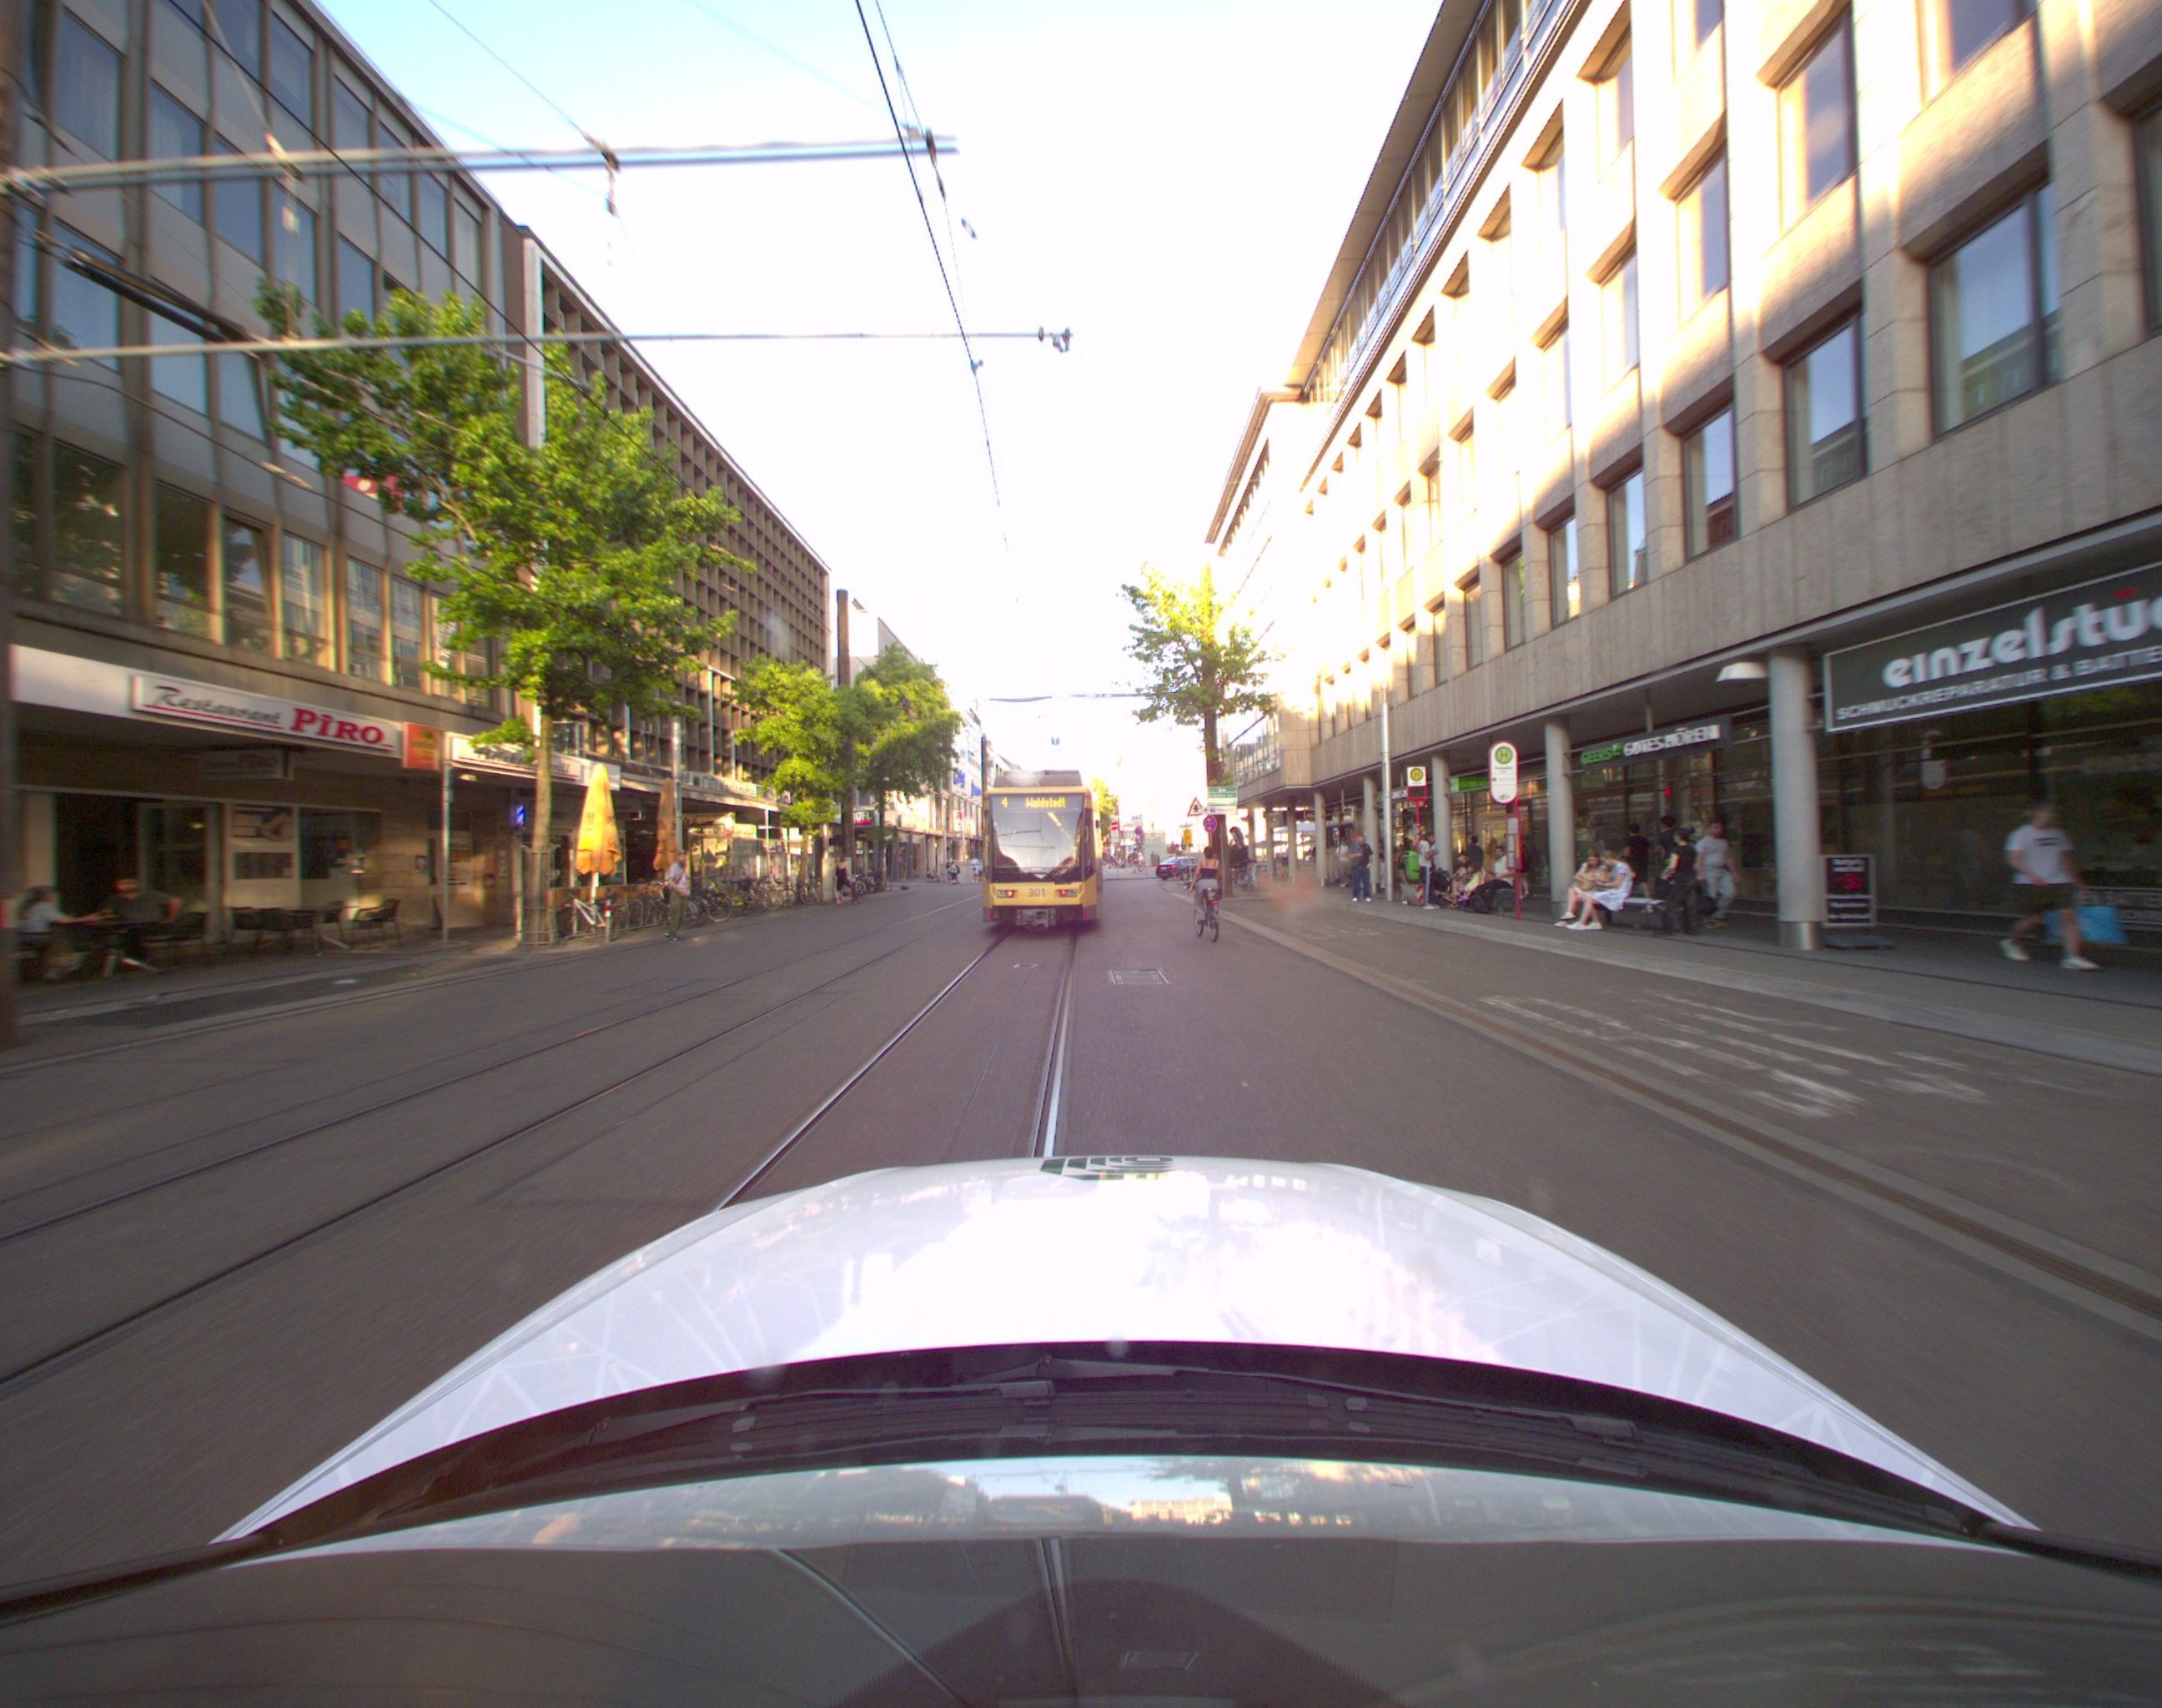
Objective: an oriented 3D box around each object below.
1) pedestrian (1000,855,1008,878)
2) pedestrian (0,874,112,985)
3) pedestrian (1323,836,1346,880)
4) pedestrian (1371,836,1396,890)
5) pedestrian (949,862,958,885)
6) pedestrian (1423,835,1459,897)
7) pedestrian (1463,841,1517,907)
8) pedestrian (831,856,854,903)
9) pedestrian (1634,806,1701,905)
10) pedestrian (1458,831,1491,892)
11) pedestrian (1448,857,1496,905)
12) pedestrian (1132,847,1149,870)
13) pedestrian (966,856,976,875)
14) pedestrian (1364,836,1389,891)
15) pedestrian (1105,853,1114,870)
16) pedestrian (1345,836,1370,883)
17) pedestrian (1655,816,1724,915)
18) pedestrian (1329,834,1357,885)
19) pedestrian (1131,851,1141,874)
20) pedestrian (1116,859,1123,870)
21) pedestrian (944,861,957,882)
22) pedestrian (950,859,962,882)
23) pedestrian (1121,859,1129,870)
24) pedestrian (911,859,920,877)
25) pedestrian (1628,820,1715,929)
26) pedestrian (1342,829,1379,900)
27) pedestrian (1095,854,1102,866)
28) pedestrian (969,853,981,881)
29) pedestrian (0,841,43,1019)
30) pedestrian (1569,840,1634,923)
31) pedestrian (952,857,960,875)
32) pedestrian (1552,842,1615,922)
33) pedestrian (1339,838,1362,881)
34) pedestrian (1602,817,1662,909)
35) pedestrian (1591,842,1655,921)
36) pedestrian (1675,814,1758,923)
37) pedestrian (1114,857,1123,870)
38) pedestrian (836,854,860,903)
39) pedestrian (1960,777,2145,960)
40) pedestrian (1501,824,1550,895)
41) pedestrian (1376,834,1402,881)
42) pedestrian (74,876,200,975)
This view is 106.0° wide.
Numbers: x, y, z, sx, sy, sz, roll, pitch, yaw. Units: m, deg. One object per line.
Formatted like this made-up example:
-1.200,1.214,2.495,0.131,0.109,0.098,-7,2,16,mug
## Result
-6.703,1.076,70.905,0.712,1.925,0.708,-1,-1,-5,pedestrian
-13.236,0.930,10.357,0.668,1.325,0.912,1,-1,-1,pedestrian
10.627,0.177,34.174,0.660,1.787,0.719,-2,-1,1,pedestrian
10.360,0.322,27.894,0.537,1.806,0.604,-2,-1,-1,pedestrian
-8.542,1.295,54.561,0.603,1.494,0.554,-1,-1,-8,pedestrian
9.931,0.326,22.483,0.646,1.661,0.650,-2,-1,1,pedestrian
8.694,0.423,17.325,0.810,1.381,0.662,-1,-1,2,pedestrian
-8.692,0.931,29.667,0.595,1.699,0.539,-1,0,29,pedestrian
11.569,0.037,16.083,0.685,1.883,0.773,-2,-1,-1,pedestrian
11.401,0.218,23.595,0.568,1.731,0.617,-2,-1,-1,pedestrian
8.724,0.588,18.179,0.810,1.042,0.544,-1,-1,2,pedestrian
4.955,0.349,67.562,1.020,1.863,1.033,0,-1,-30,pedestrian
-9.900,1.065,73.514,0.632,1.725,0.598,0,-2,-43,pedestrian
9.986,0.323,27.537,0.537,1.806,0.604,-2,-1,-1,pedestrian
3.168,0.834,90.602,0.734,1.823,0.816,-1,-1,-14,pedestrian
10.772,0.223,31.709,0.660,1.787,0.719,-2,-1,1,pedestrian
10.617,0.203,14.230,0.645,1.661,0.681,-2,-1,2,pedestrian
9.682,0.208,30.107,0.666,1.839,0.880,-2,-1,0,pedestrian
4.297,0.684,63.459,0.715,1.725,0.709,-2,-1,0,pedestrian
4.463,1.196,94.549,0.790,1.221,0.768,-1,0,-3,pedestrian
-9.321,1.233,58.059,0.548,1.434,0.689,-3,-2,38,pedestrian
-8.528,1.115,55.410,0.682,1.542,0.605,-1,-1,-2,pedestrian
5.055,1.180,93.745,0.790,1.221,0.768,-1,0,-3,pedestrian
-16.305,1.370,80.180,0.711,1.725,0.709,-2,-1,-1,pedestrian
8.898,0.298,12.293,0.721,1.570,0.736,-2,-1,2,pedestrian
7.485,0.281,21.843,0.666,1.839,0.708,-2,-1,0,pedestrian
2.378,0.779,110.512,0.761,1.661,0.797,-1,0,12,pedestrian
-7.410,0.924,57.158,0.772,1.926,0.707,-1,-1,-8,pedestrian
-11.234,0.754,8.013,0.680,1.793,0.992,1,-1,6,pedestrian
8.443,0.443,13.231,0.715,1.314,0.524,-1,-1,2,pedestrian
-11.929,1.134,77.721,0.711,1.725,0.709,-2,-1,-1,pedestrian
8.481,0.467,13.765,0.715,1.314,0.532,-1,-1,2,pedestrian
11.333,0.225,34.293,0.660,1.787,0.719,-2,-1,1,pedestrian
10.913,0.182,16.148,0.580,1.753,0.773,-2,-1,-1,pedestrian
9.221,0.460,13.876,0.715,1.314,0.532,-1,-1,2,pedestrian
10.132,0.224,13.012,0.685,1.661,0.722,-2,-1,2,pedestrian
4.552,1.197,98.778,0.759,1.579,0.800,-2,0,30,pedestrian
-8.336,0.867,29.175,0.595,1.699,0.539,-1,0,29,pedestrian
10.225,0.148,8.611,0.841,1.797,0.859,-2,-1,1,pedestrian
11.482,0.140,21.060,0.770,1.772,0.774,-2,-1,-1,pedestrian
11.941,0.142,31.612,0.660,1.787,0.719,-2,-1,1,pedestrian
-13.352,0.986,11.551,0.668,1.325,0.912,1,-1,-1,pedestrian
